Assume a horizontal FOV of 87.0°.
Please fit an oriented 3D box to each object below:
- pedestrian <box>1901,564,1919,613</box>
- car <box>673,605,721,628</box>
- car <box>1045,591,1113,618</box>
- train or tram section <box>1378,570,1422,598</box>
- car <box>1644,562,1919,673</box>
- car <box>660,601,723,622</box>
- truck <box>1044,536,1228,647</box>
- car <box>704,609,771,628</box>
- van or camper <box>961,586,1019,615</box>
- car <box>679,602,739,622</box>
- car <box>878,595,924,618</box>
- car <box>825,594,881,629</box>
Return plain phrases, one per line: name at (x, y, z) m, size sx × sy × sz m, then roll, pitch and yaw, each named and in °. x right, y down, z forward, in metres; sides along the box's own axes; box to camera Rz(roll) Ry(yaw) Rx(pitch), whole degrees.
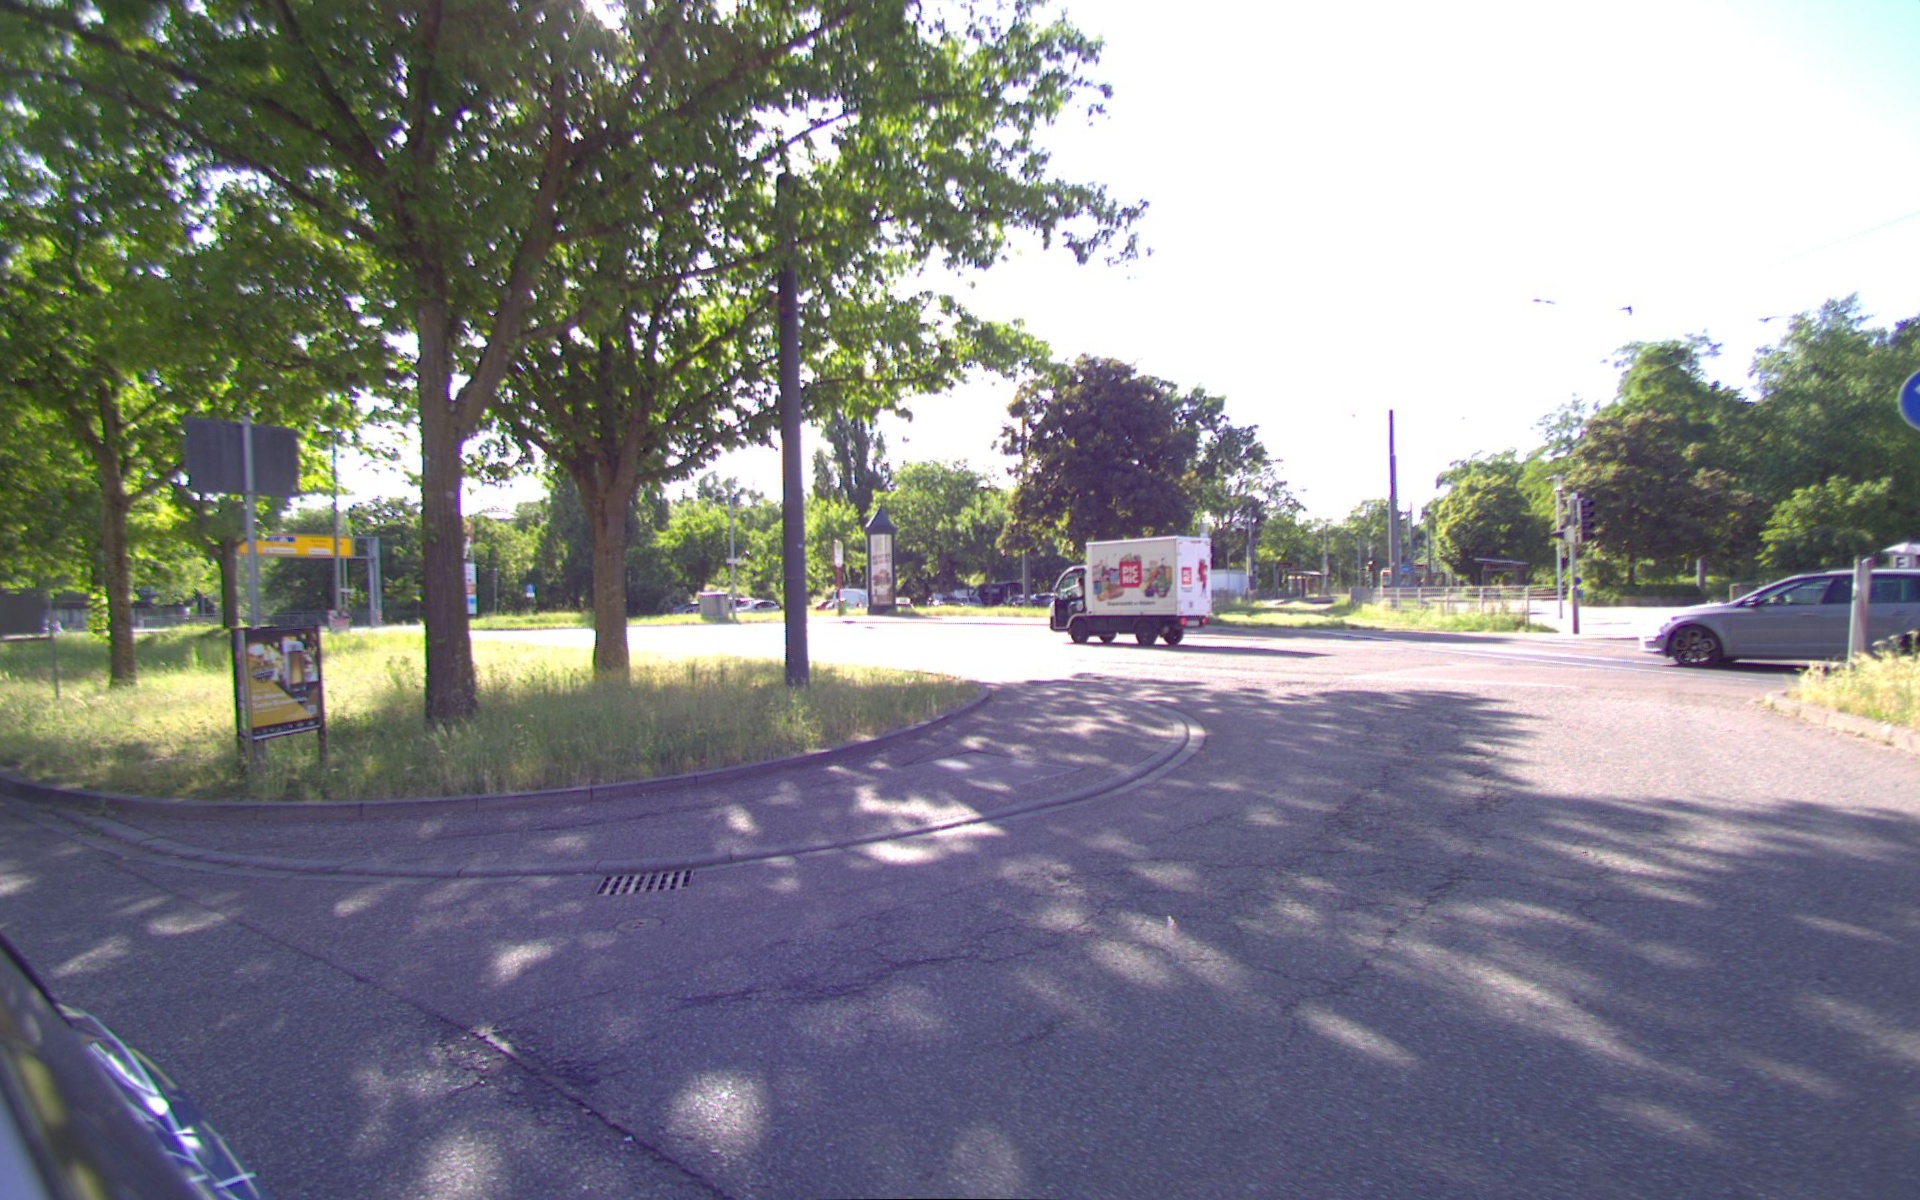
pedestrian at (36.191, -0.425, 38.274) m, size 0.550 × 1.843 × 0.729 m, roll -2°, pitch 0°, yaw -34°
car at (-17.687, 1.085, 68.057) m, size 1.792 × 1.459 × 4.010 m, roll -2°, pitch 0°, yaw -35°
car at (7.739, 0.301, 65.782) m, size 3.976 × 1.579 × 1.984 m, roll -2°, pitch 1°, yaw 25°
train or tram section at (51.810, -1.929, 118.840) m, size 2.460 × 2.962 × 19.641 m, roll -1°, pitch 1°, yaw 30°
car at (12.647, 0.223, 14.518) m, size 1.642 × 1.459 × 4.410 m, roll -2°, pitch 0°, yaw -39°
car at (-21.520, 0.945, 81.248) m, size 4.500 × 1.475 × 1.997 m, roll -2°, pitch 2°, yaw 6°
truck at (4.170, -0.178, 24.497) m, size 1.767 × 2.445 × 4.114 m, roll -2°, pitch 0°, yaw -42°
car at (-14.263, 1.199, 64.936) m, size 3.982 × 1.137 × 1.804 m, roll -2°, pitch 0°, yaw 29°
van or camper at (2.259, 0.067, 77.402) m, size 1.968 × 2.112 × 4.410 m, roll -2°, pitch 0°, yaw -38°
car at (-21.034, 1.010, 84.849) m, size 4.500 × 1.475 × 1.997 m, roll -2°, pitch 2°, yaw 6°
car at (-3.605, 0.389, 62.207) m, size 1.978 × 1.292 × 3.989 m, roll -2°, pitch 1°, yaw 9°
car at (-6.627, 0.688, 63.295) m, size 2.214 × 2.029 × 4.985 m, roll -2°, pitch 0°, yaw 10°
